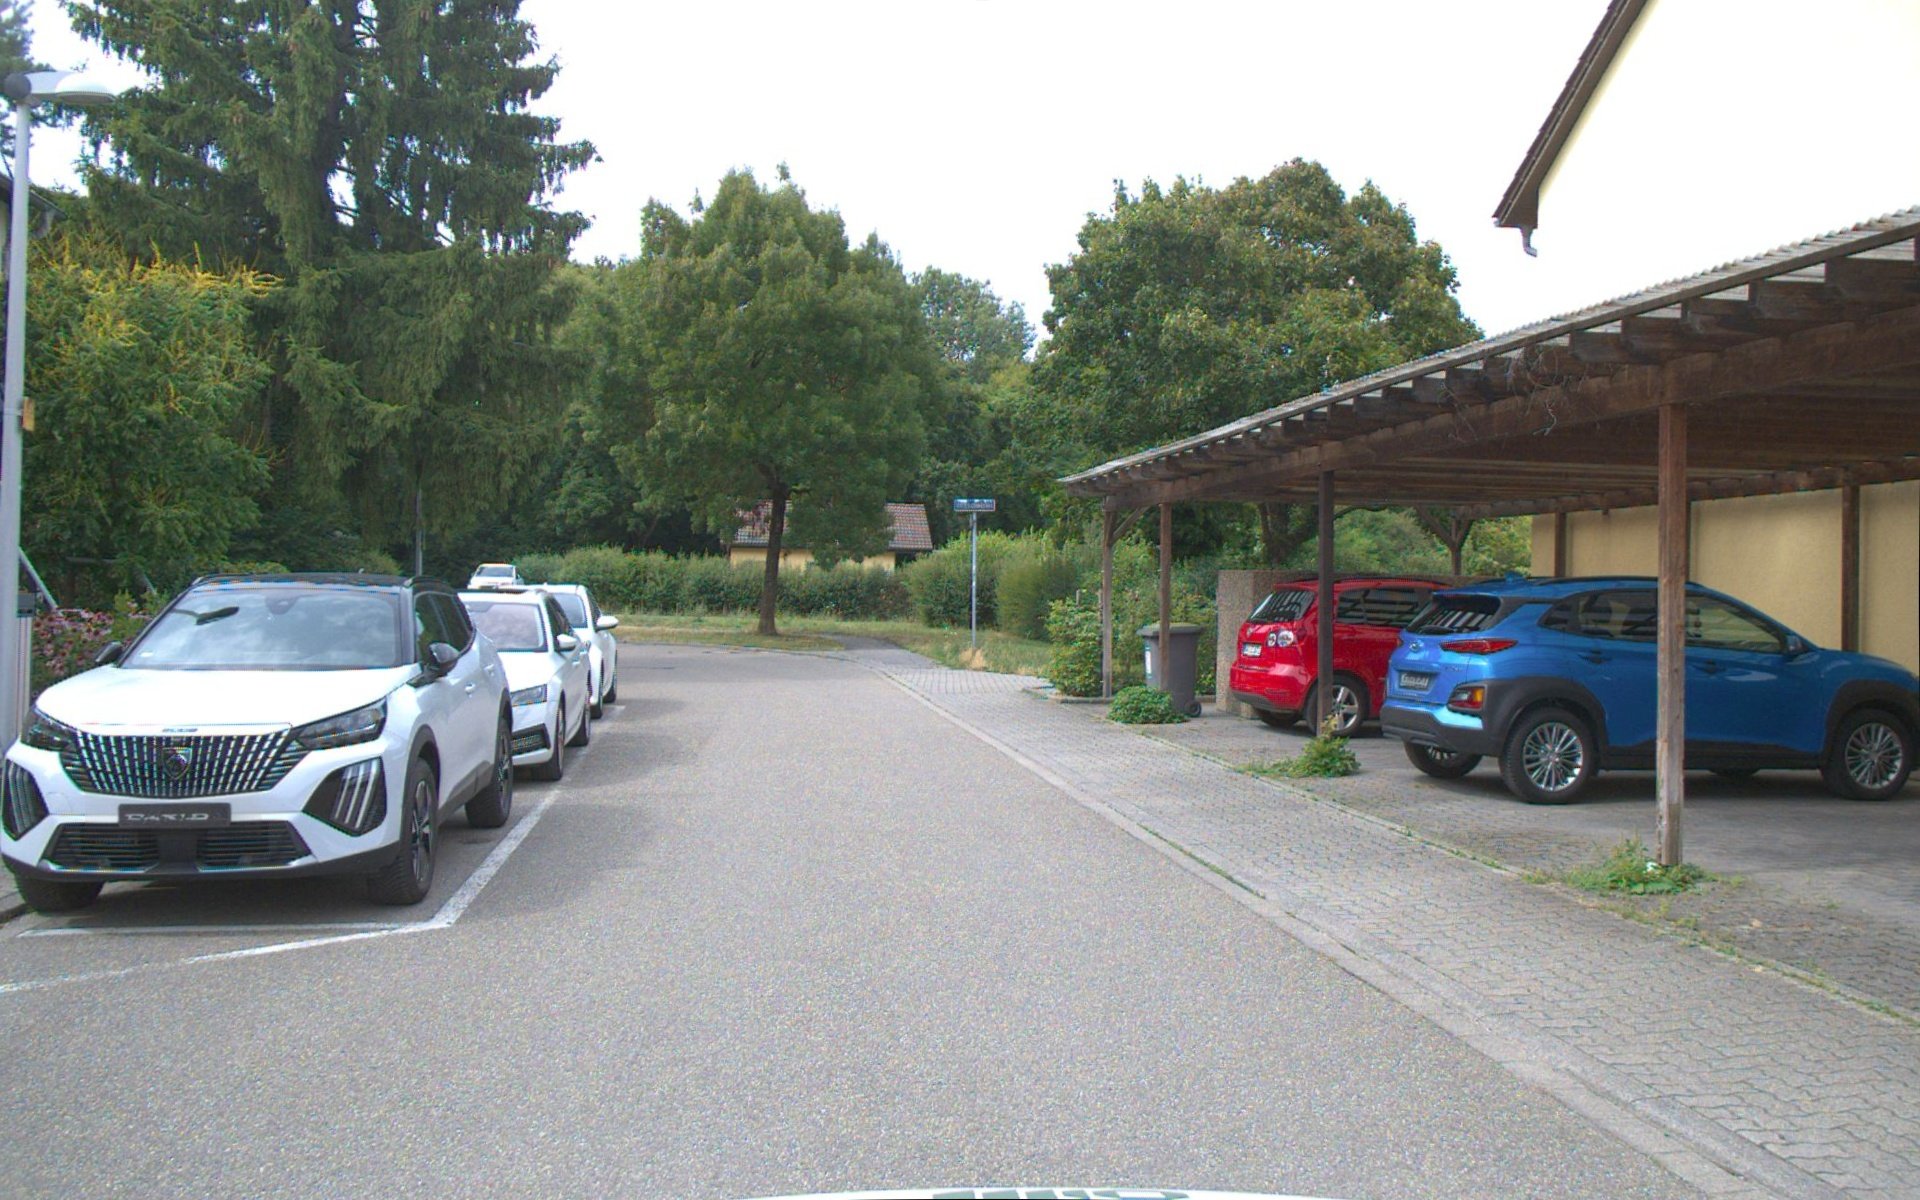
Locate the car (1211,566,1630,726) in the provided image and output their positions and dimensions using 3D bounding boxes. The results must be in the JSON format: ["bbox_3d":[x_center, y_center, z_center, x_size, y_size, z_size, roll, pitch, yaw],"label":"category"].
[{"bbox_3d":[4.822,0.454,17.548,3.886,1.567,1.834,0,1,-11],"label":"car"}]

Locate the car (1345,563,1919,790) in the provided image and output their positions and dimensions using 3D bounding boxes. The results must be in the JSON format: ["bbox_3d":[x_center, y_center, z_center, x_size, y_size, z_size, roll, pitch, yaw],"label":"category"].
[{"bbox_3d":[5.203,0.523,12.638,3.973,1.549,1.945,0,1,-11],"label":"car"}]

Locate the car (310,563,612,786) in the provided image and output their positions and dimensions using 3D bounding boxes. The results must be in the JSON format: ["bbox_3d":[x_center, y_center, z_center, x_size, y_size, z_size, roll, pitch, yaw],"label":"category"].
[{"bbox_3d":[-4.092,0.508,14.330,1.776,1.589,4.839,0,1,-8],"label":"car"}]

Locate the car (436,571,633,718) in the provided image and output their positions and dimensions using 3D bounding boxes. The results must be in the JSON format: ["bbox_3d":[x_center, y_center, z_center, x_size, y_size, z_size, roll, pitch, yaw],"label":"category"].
[{"bbox_3d":[-4.944,0.453,19.713,1.758,1.558,4.133,0,1,-7],"label":"car"}]

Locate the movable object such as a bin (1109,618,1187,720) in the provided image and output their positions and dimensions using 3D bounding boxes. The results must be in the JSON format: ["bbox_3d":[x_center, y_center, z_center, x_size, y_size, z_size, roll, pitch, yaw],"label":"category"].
[{"bbox_3d":[2.083,0.755,18.364,0.686,1.091,0.709,0,0,-11],"label":"movable object such as a bin"}]

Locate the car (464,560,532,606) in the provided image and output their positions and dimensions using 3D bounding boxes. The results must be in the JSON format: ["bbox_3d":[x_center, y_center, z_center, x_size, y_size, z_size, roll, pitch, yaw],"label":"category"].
[{"bbox_3d":[-17.834,-0.658,64.028,1.901,1.689,4.333,1,1,-8],"label":"car"}]

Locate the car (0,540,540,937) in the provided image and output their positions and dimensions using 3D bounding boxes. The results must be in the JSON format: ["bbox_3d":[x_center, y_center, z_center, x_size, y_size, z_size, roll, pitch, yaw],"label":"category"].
[{"bbox_3d":[-3.543,0.526,8.963,1.897,1.583,4.627,0,1,-7],"label":"car"}]
